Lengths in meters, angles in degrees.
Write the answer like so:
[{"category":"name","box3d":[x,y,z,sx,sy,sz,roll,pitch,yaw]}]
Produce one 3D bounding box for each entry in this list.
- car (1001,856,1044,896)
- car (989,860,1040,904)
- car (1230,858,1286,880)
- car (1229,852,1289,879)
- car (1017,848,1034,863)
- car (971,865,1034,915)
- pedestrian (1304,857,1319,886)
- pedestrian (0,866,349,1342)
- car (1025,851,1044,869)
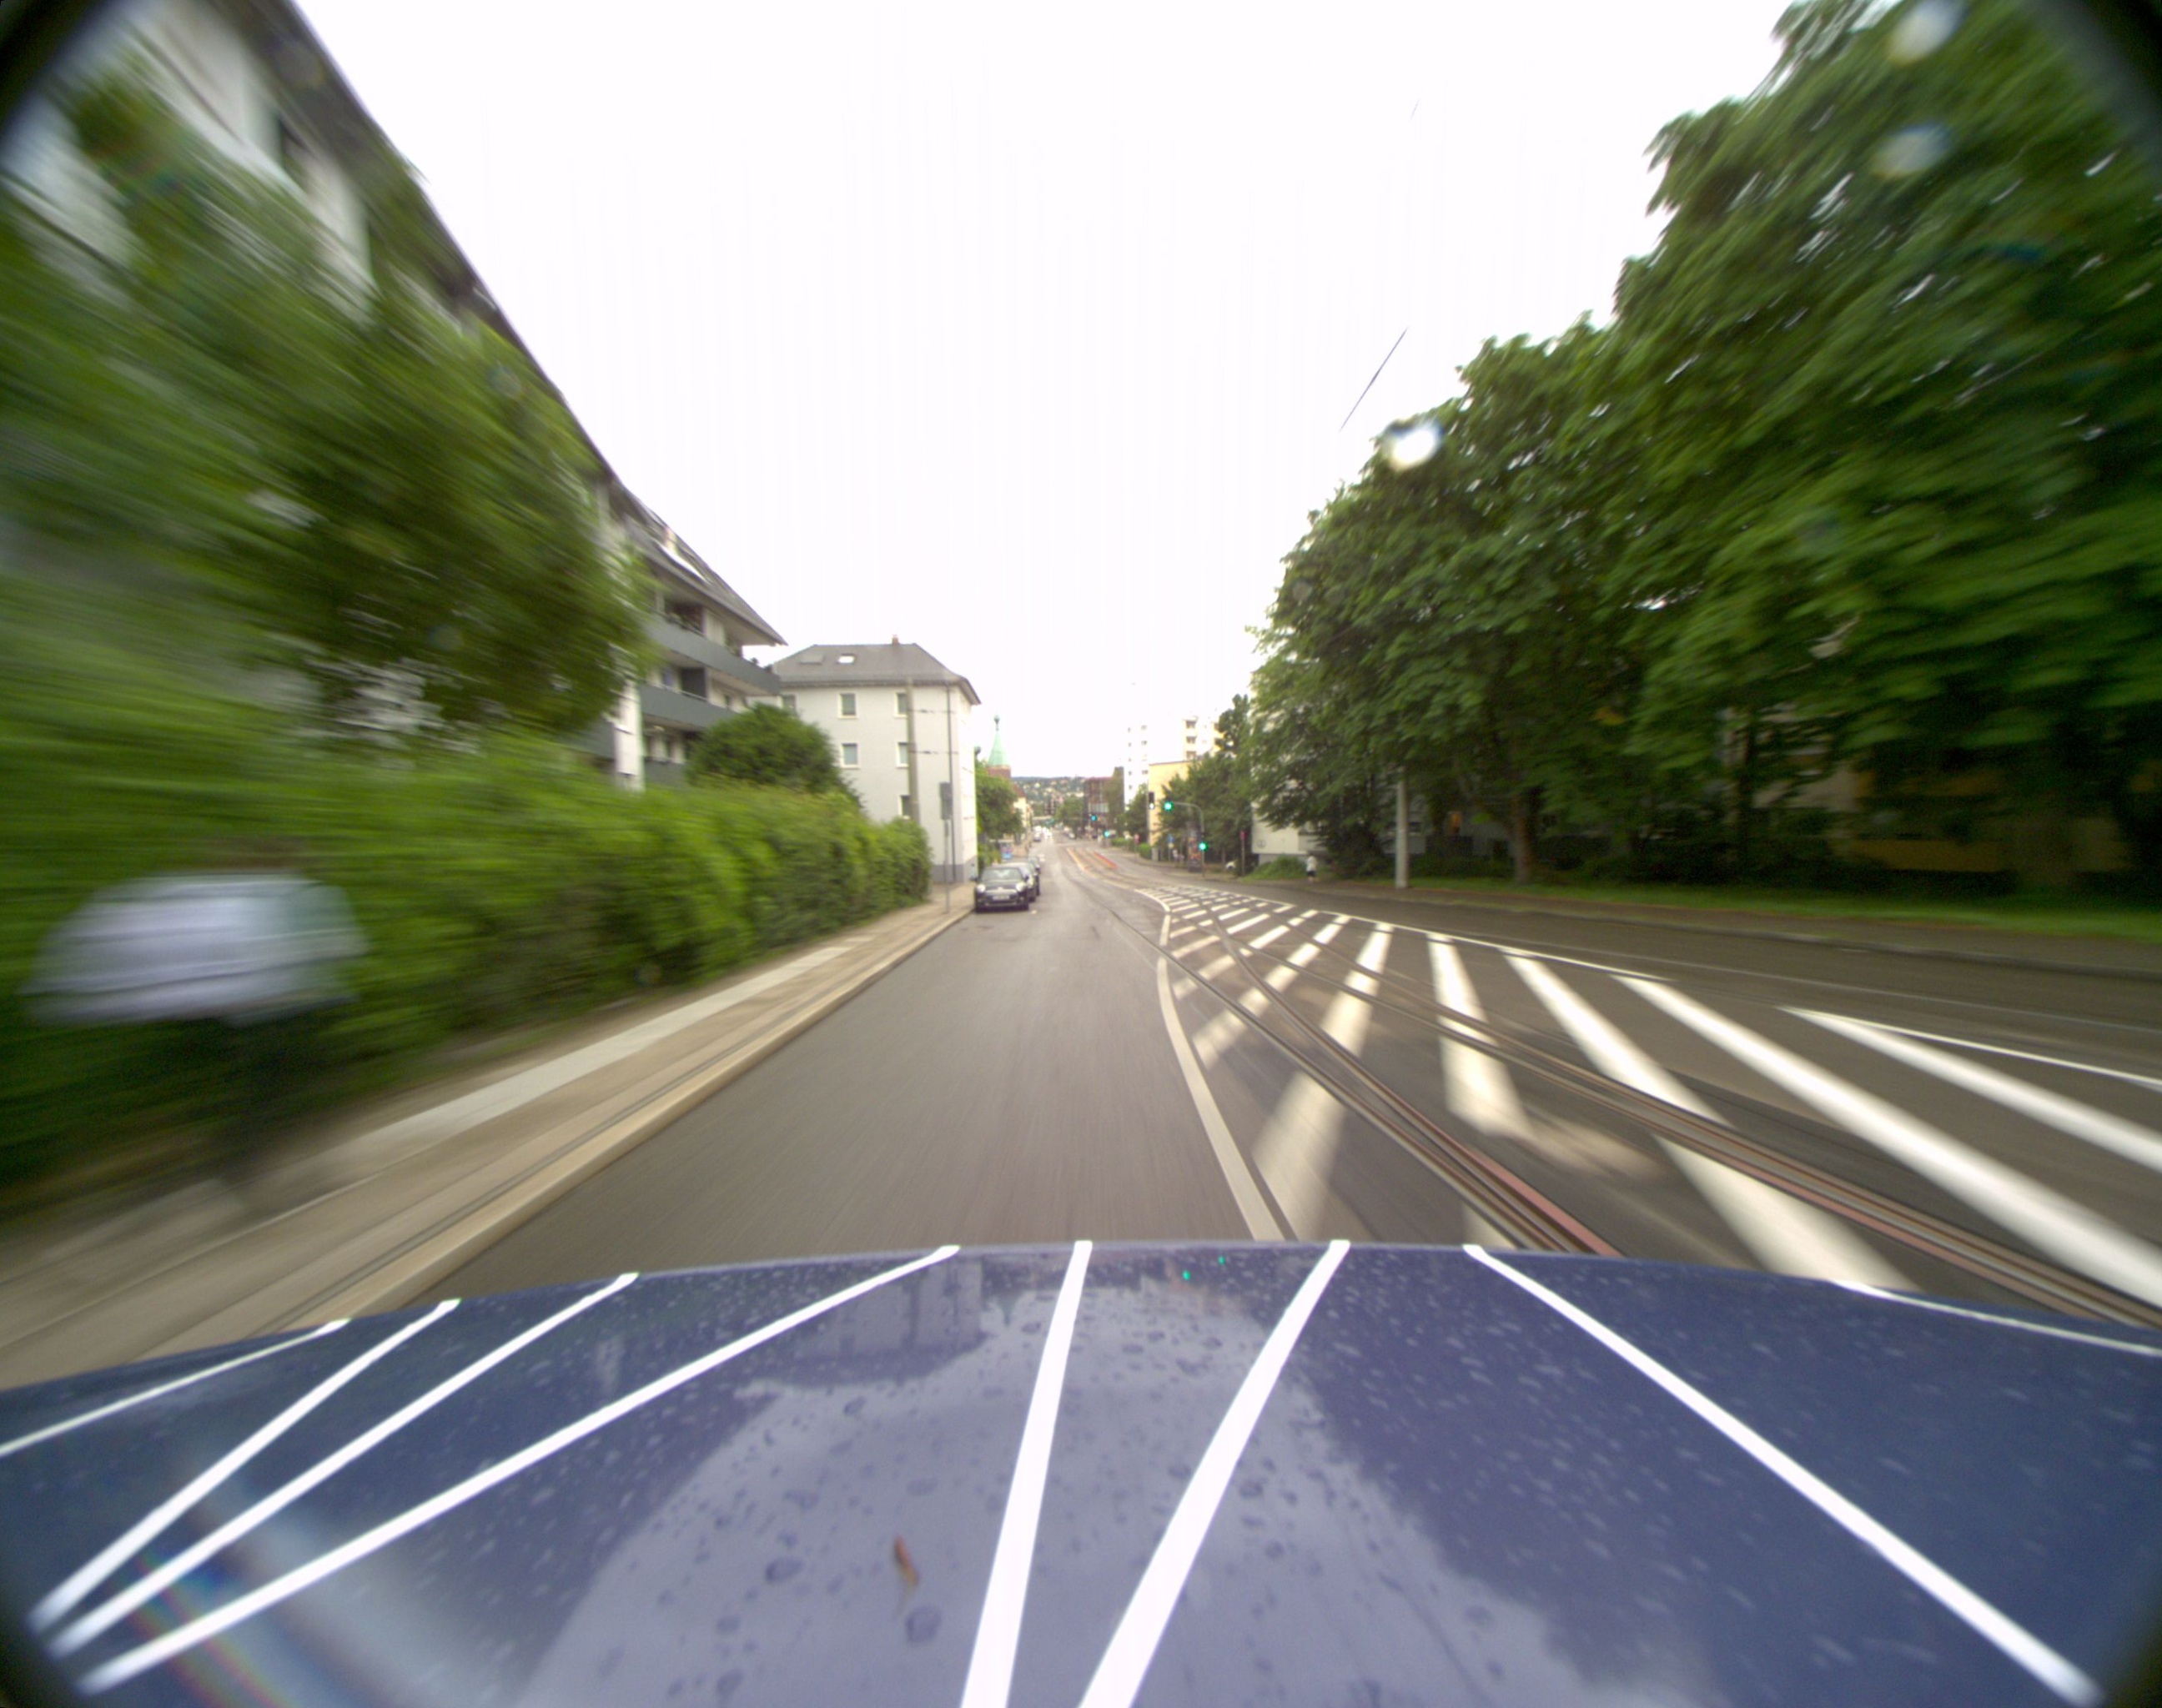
[{"category":"car","box3d":[-2.684,0.963,35.627,1.726,1.673,3.999,-2,1,-2]},{"category":"car","box3d":[-2.580,1.057,30.233,1.726,1.479,3.999,-2,0,-2]},{"category":"car","box3d":[13.547,1.121,58.217,3.994,1.379,1.785,-3,1,8]},{"category":"car","box3d":[13.037,0.823,55.857,3.994,1.740,2.001,-3,1,8]},{"category":"car","box3d":[-6.578,0.123,90.353,1.726,1.673,3.999,-2,1,-2]},{"category":"car","box3d":[-2.498,1.103,24.928,1.726,1.350,3.999,-2,0,-2]},{"category":"pedestrian","box3d":[11.581,0.865,38.143,0.529,1.418,0.528,-3,1,-1]},{"category":"pedestrian","box3d":[-3.465,0.864,2.906,0.658,1.611,0.630,-1,1,2]},{"category":"car","box3d":[-4.680,0.595,76.341,1.726,1.673,3.999,-2,1,-2]}]
